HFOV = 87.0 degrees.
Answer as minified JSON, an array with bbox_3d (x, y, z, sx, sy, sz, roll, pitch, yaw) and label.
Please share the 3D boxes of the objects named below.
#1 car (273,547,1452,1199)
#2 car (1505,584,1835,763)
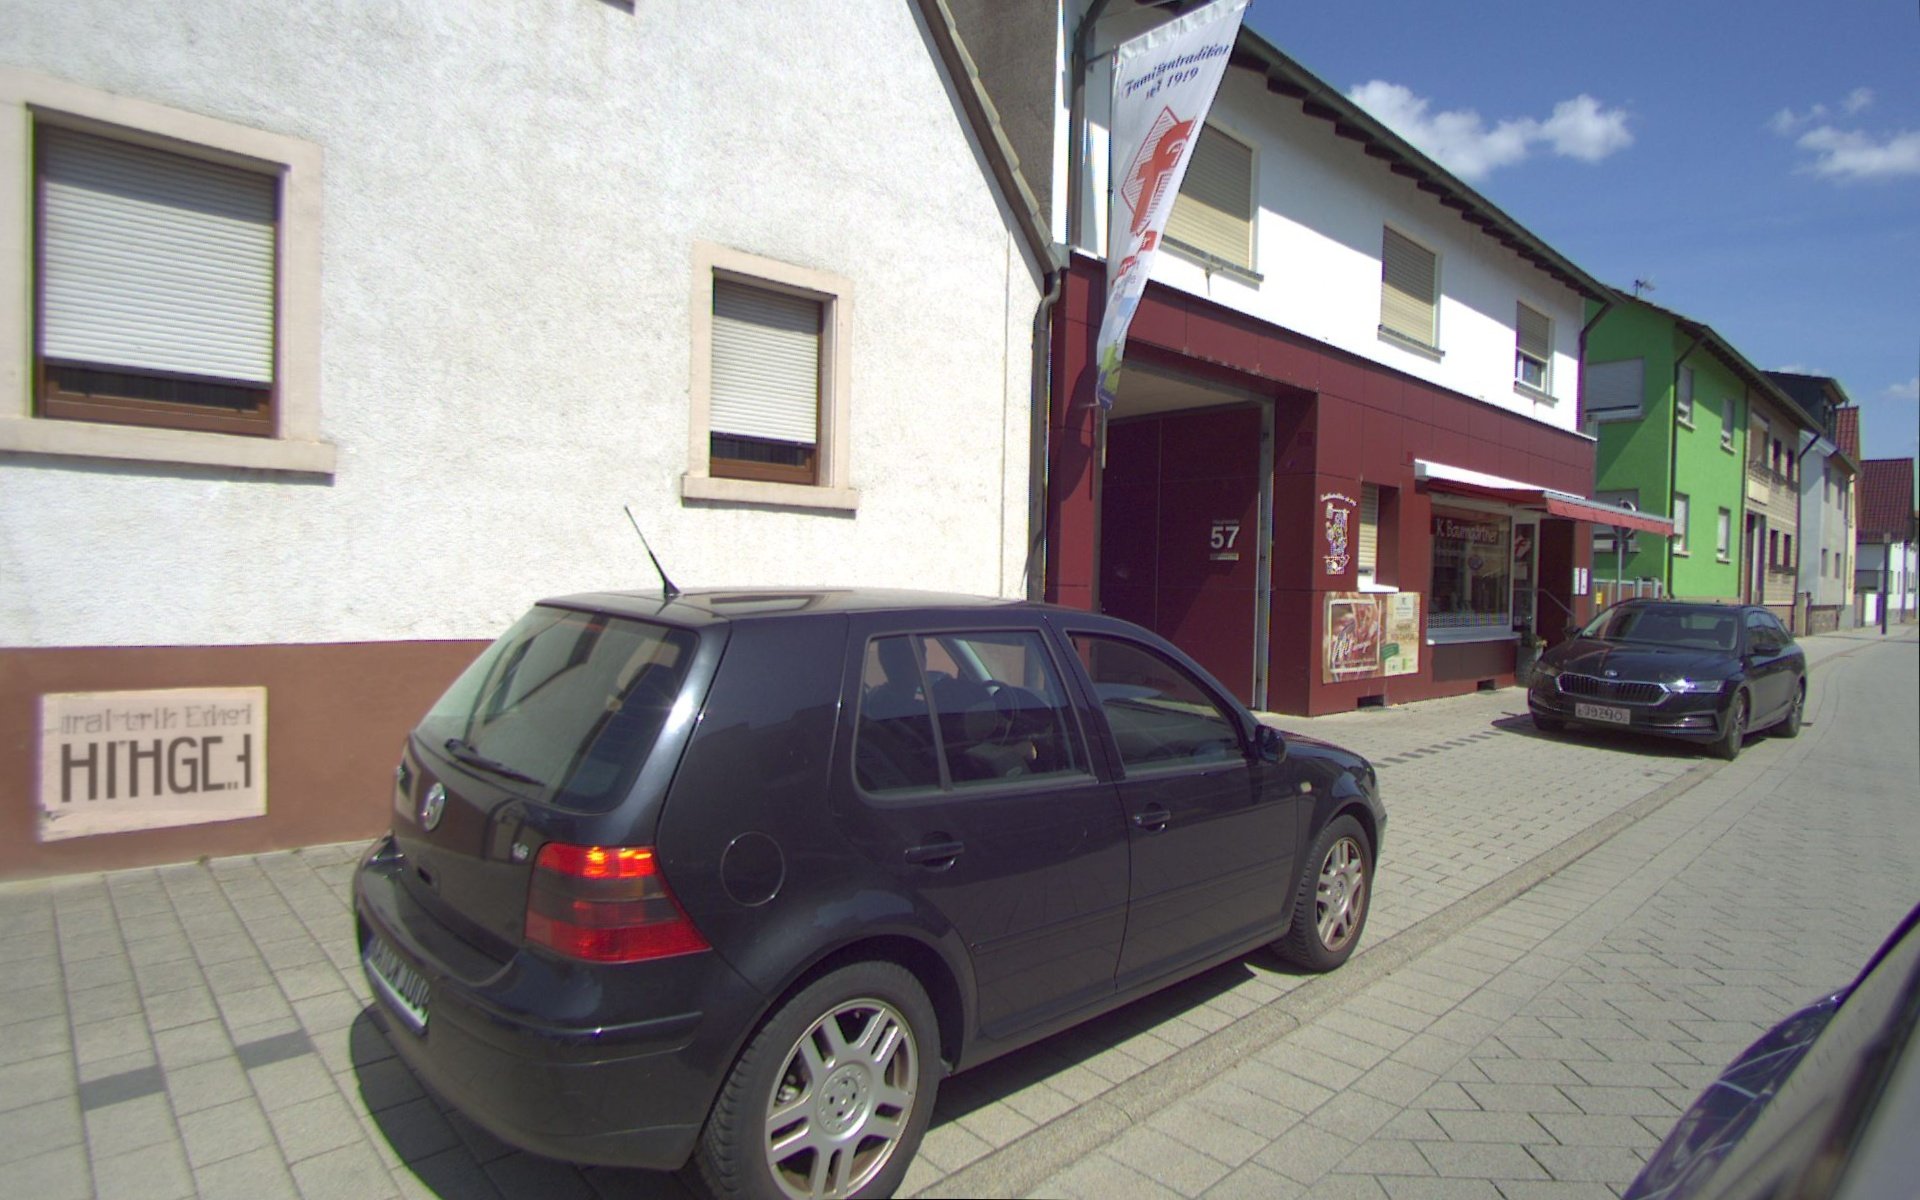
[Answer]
[{"bbox_3d":[0.059,0.621,3.710,4.050,1.456,1.762,0,3,-43],"label":"car"},{"bbox_3d":[7.874,0.635,11.049,4.505,1.476,1.862,0,4,-41],"label":"car"}]
